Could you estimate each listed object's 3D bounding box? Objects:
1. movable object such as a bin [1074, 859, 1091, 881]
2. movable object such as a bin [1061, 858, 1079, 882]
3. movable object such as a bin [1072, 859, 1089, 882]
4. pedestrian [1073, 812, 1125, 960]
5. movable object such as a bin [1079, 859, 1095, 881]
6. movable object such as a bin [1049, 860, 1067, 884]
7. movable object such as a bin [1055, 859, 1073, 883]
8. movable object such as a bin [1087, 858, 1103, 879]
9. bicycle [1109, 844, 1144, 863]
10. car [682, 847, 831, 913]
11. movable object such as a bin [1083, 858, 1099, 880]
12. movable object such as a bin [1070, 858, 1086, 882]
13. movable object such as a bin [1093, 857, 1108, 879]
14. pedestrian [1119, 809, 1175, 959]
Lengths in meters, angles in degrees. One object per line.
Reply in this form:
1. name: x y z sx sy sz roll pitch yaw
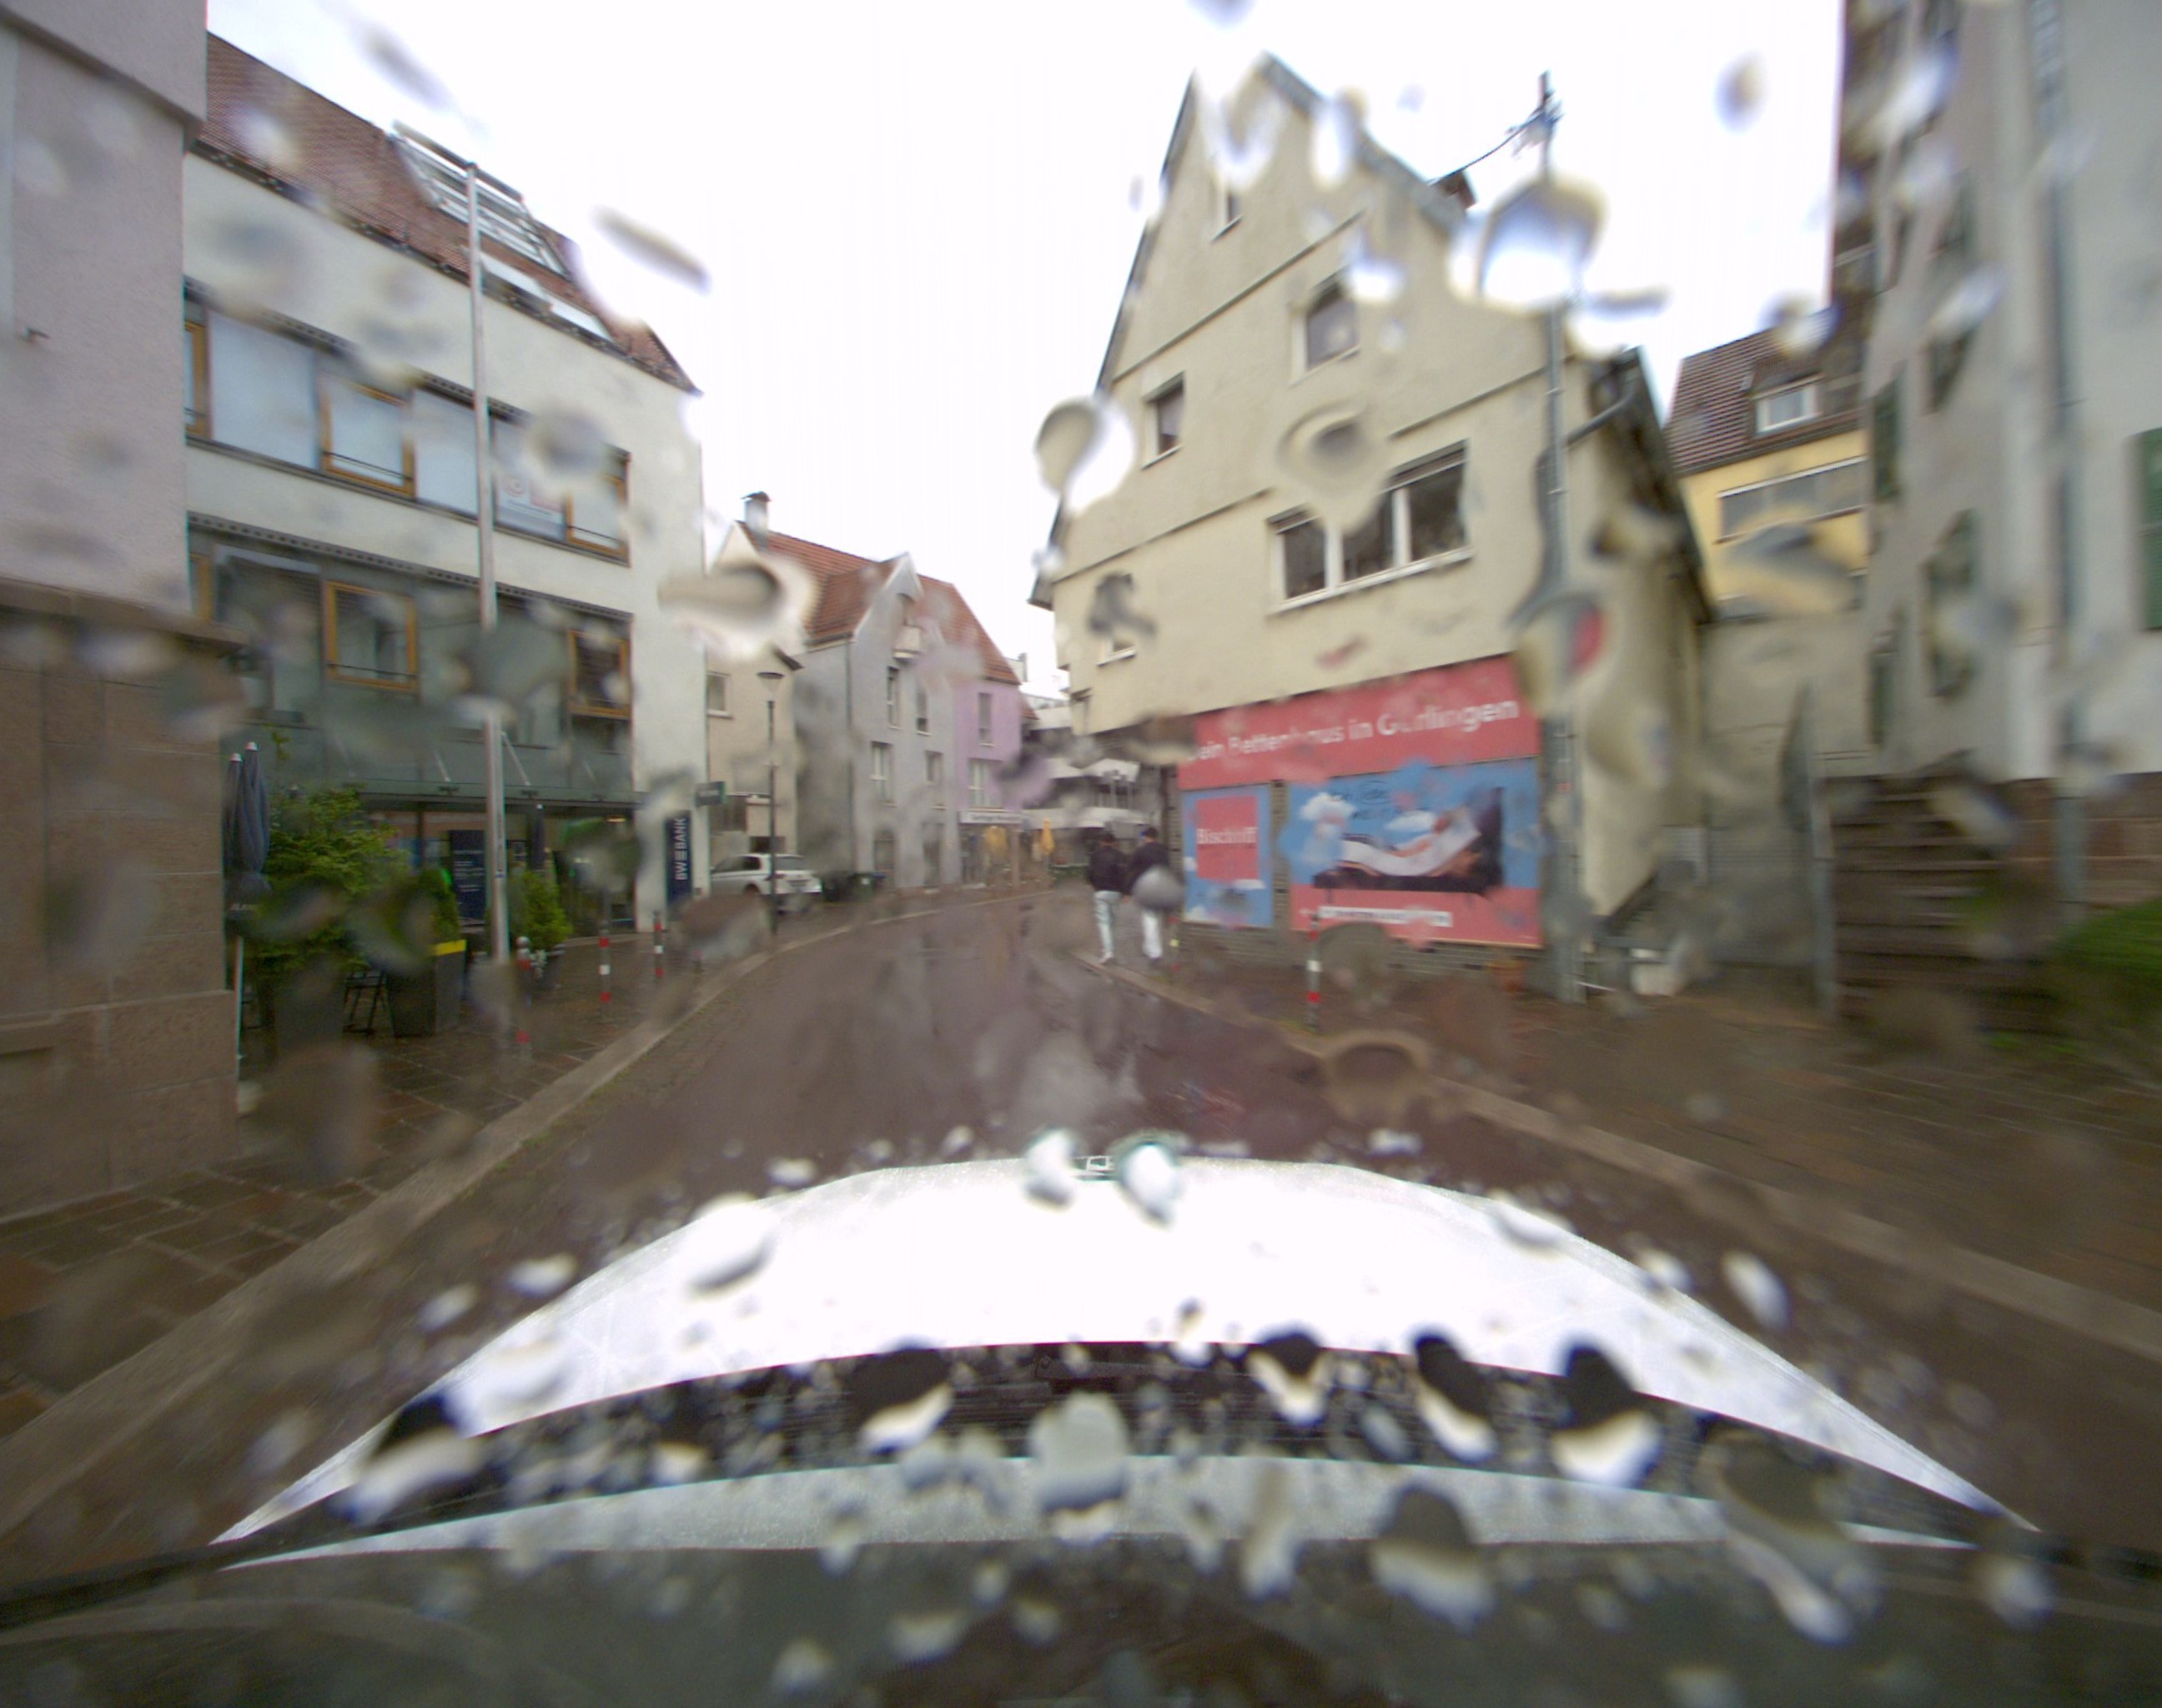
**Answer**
1. movable object such as a bin: 0.074 0.829 42.057 0.627 1.128 0.580 -2 -1 22
2. movable object such as a bin: -0.539 0.792 39.506 0.627 1.128 0.580 -2 -1 22
3. movable object such as a bin: -0.034 0.831 41.373 0.627 1.128 0.580 -2 -1 22
4. pedestrian: 0.244 0.437 11.612 0.649 2.014 0.760 -2 -1 -2
5. movable object such as a bin: 0.329 0.813 42.717 0.627 1.128 0.580 -2 -1 22
6. movable object such as a bin: -1.081 0.840 38.179 0.627 1.128 0.580 -2 -1 22
7. movable object such as a bin: -0.804 0.810 38.881 0.627 1.128 0.580 -2 -1 22
8. movable object such as a bin: 0.759 0.794 43.941 0.627 1.128 0.580 -2 -1 22
9. bicycle: 3.300 -0.031 59.069 2.280 1.314 1.016 -2 -1 26
10. car: -9.142 0.669 22.872 3.948 1.676 2.013 -1 0 34
11. movable object such as a bin: 0.545 0.798 43.303 0.627 1.128 0.580 -2 -1 22
12. movable object such as a bin: -0.146 0.793 40.564 0.627 1.128 0.580 -2 -1 22
13. movable object such as a bin: 1.054 0.765 44.512 0.627 1.128 0.580 -2 -1 22
14. pedestrian: 0.916 0.404 11.424 0.649 2.014 0.761 -2 -1 -1
